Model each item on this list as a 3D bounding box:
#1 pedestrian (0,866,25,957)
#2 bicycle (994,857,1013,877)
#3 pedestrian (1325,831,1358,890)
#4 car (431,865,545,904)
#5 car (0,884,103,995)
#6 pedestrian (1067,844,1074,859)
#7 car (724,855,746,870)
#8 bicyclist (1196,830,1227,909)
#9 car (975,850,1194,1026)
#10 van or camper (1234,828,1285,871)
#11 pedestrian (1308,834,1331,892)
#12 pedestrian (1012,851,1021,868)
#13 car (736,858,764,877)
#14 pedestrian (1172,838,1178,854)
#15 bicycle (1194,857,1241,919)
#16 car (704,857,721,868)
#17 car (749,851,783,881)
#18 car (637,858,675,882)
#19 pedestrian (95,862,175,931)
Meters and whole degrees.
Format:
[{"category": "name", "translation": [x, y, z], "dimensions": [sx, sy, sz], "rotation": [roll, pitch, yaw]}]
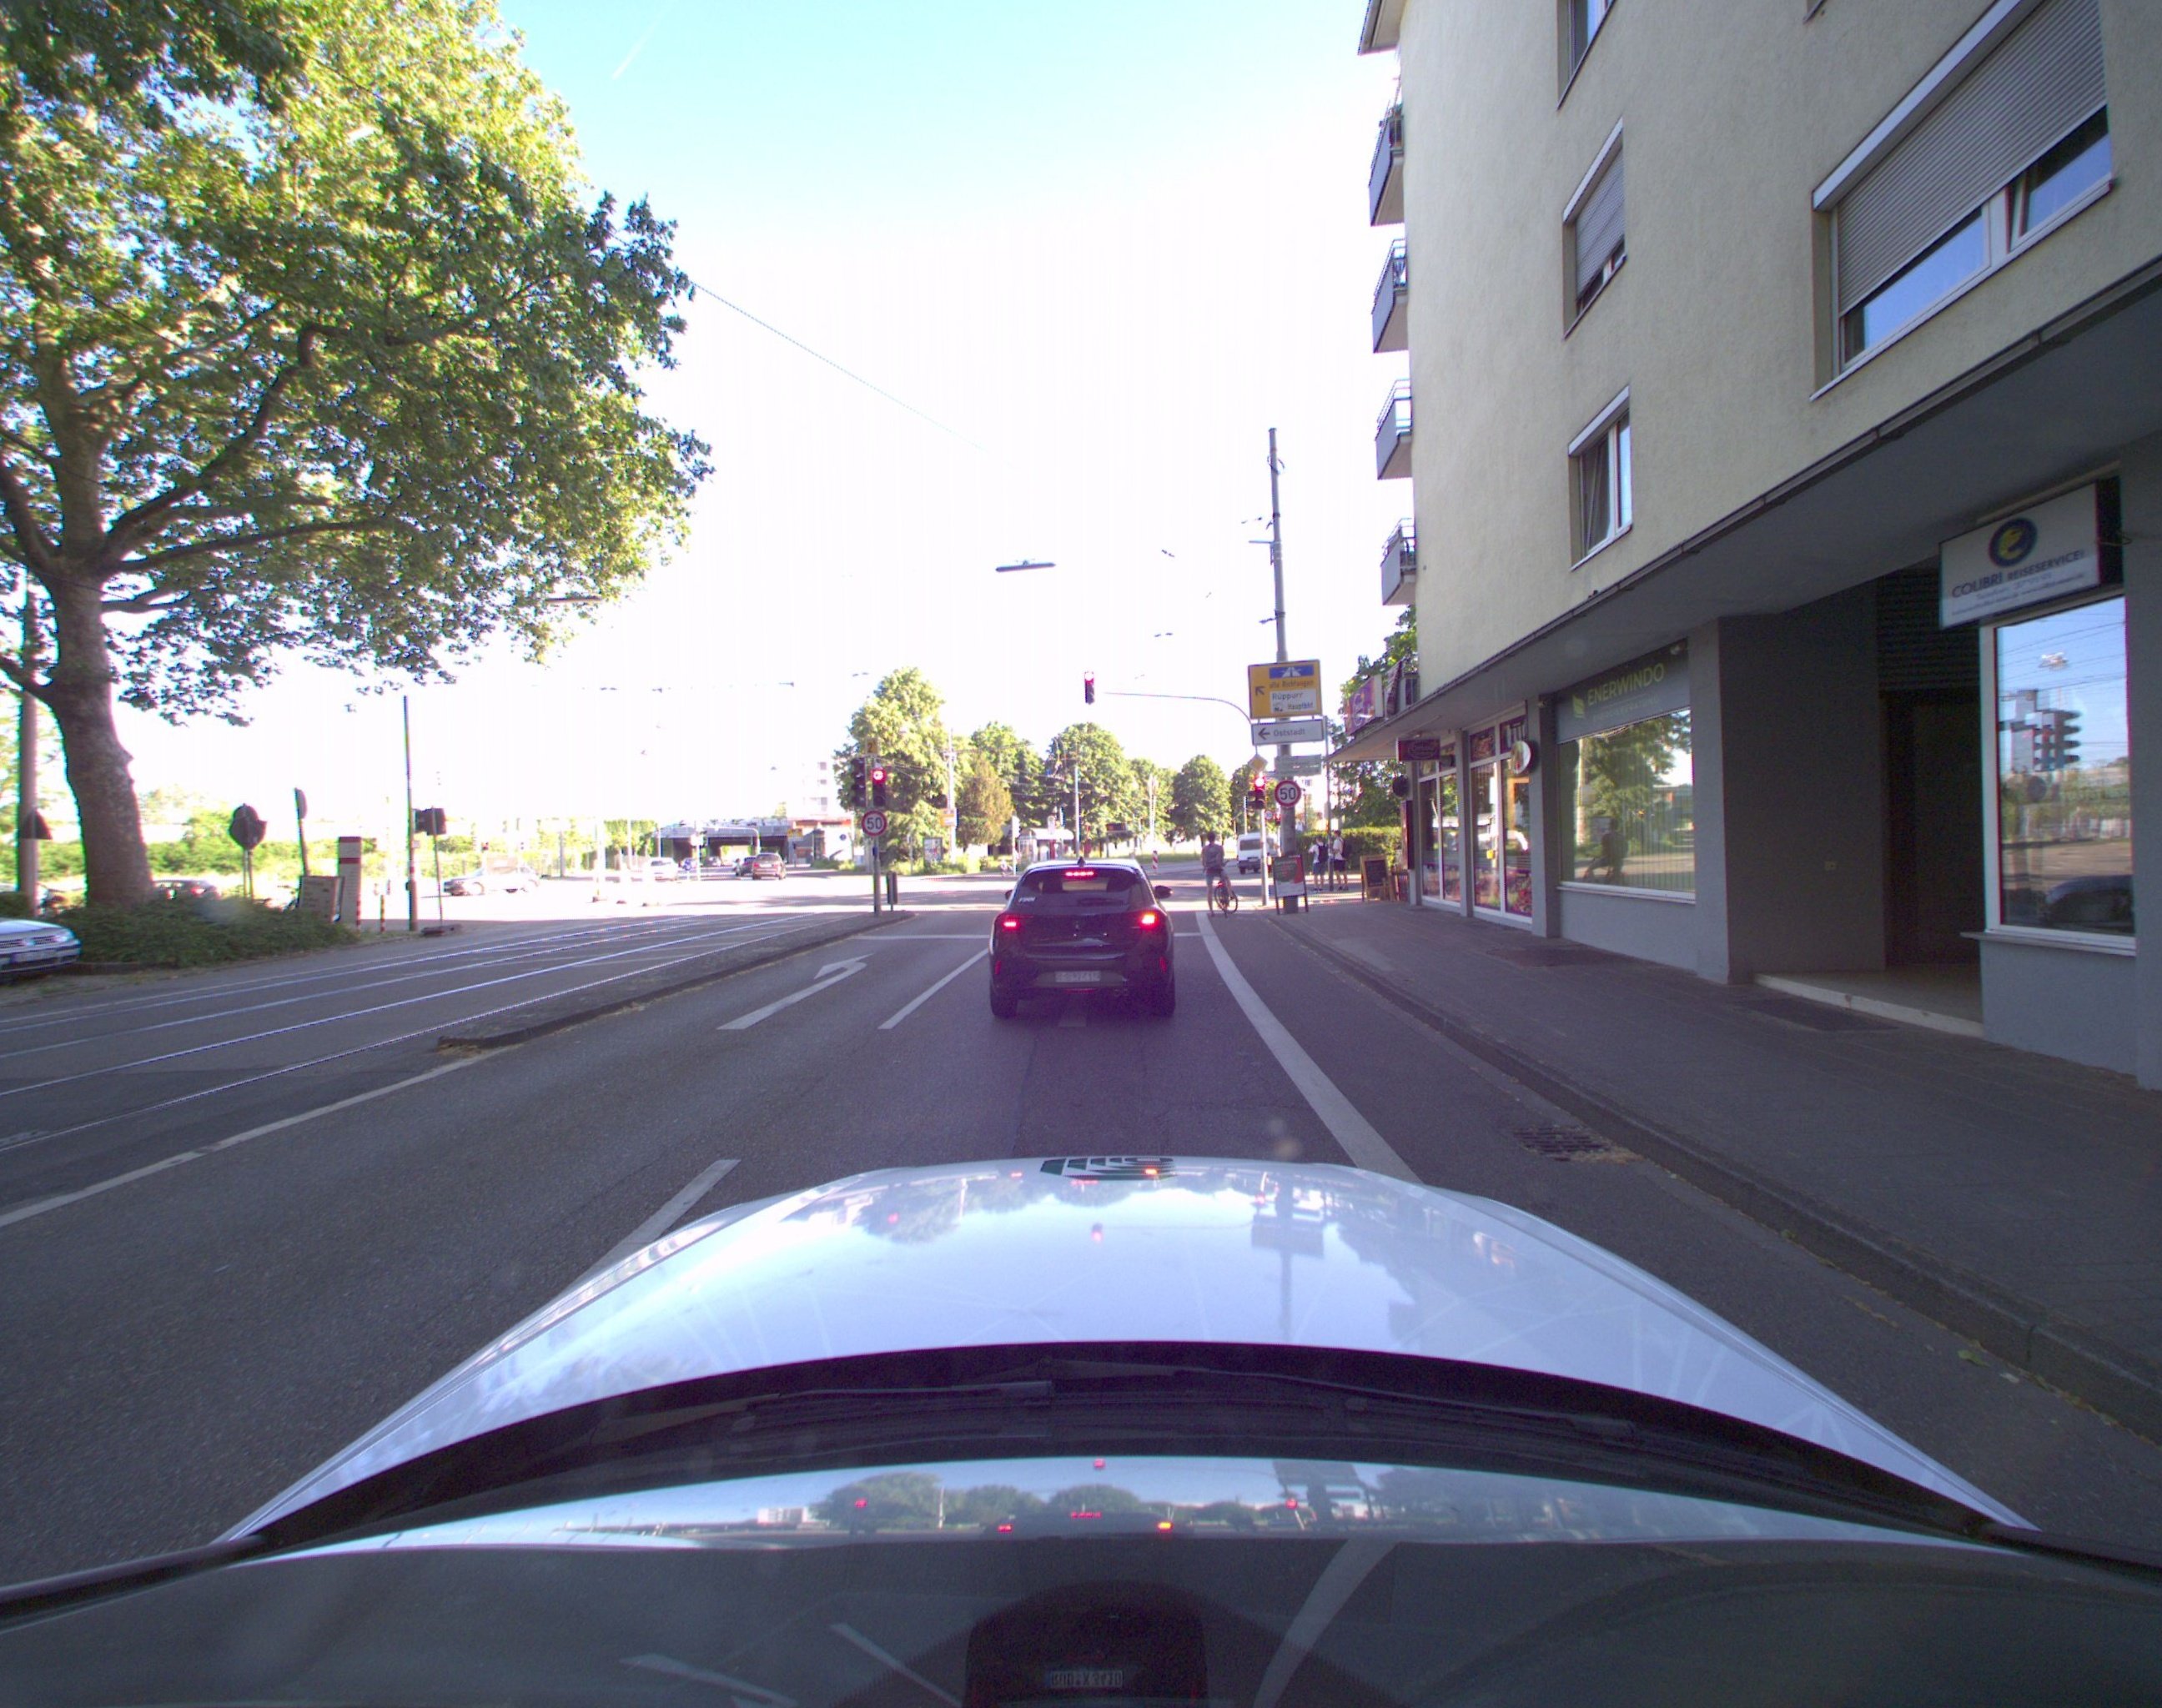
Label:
[{"category": "pedestrian", "translation": [-20.262, 1.060, 14.838], "dimensions": [0.770, 1.661, 0.954], "rotation": [0, -1, -2]}, {"category": "bicycle", "translation": [-4.402, 0.750, 46.579], "dimensions": [0.793, 1.064, 2.186], "rotation": [-2, 0, 2]}, {"category": "pedestrian", "translation": [8.146, 0.200, 25.492], "dimensions": [0.636, 1.820, 0.739], "rotation": [0, -1, -27]}, {"category": "car", "translation": [-30.849, 1.545, 42.533], "dimensions": [1.965, 1.764, 4.383], "rotation": [-2, 0, 21]}, {"category": "car", "translation": [-16.630, 1.196, 11.334], "dimensions": [3.957, 1.453, 1.670], "rotation": [-1, 0, -1]}, {"category": "pedestrian", "translation": [-1.285, -0.266, 99.698], "dimensions": [0.736, 1.872, 0.661], "rotation": [0, -1, -4]}, {"category": "car", "translation": [-36.975, 0.941, 86.979], "dimensions": [2.000, 1.552, 4.162], "rotation": [0, -1, -25]}, {"category": "bicyclist", "translation": [2.849, 0.334, 17.799], "dimensions": [0.529, 1.692, 0.571], "rotation": [-2, 0, 19]}, {"category": "car", "translation": [0.092, 0.705, 8.922], "dimensions": [1.833, 1.462, 3.985], "rotation": [-1, 0, 2]}, {"category": "van or camper", "translation": [10.177, -0.217, 46.167], "dimensions": [2.011, 2.310, 4.565], "rotation": [-1, -1, 23]}, {"category": "pedestrian", "translation": [7.435, 0.276, 25.408], "dimensions": [0.627, 1.763, 0.585], "rotation": [-1, -1, 22]}, {"category": "pedestrian", "translation": [-5.622, 0.505, 71.358], "dimensions": [0.566, 1.472, 0.667], "rotation": [-2, 0, 10]}, {"category": "car", "translation": [-26.766, 1.071, 65.808], "dimensions": [1.807, 1.519, 4.170], "rotation": [0, -1, -26]}, {"category": "pedestrian", "translation": [11.013, -0.909, 95.309], "dimensions": [0.513, 1.872, 0.609], "rotation": [-1, -1, 43]}, {"category": "bicycle", "translation": [3.029, 0.718, 17.964], "dimensions": [0.747, 1.235, 2.024], "rotation": [-2, 0, 16]}, {"category": "car", "translation": [-51.764, 1.221, 114.412], "dimensions": [1.892, 1.585, 3.809], "rotation": [0, -1, -21]}, {"category": "car", "translation": [-21.476, 0.771, 55.377], "dimensions": [1.917, 1.881, 4.808], "rotation": [-2, 0, -24]}, {"category": "car", "translation": [-29.263, 1.068, 56.150], "dimensions": [1.892, 1.585, 3.809], "rotation": [0, -1, -21]}, {"category": "pedestrian", "translation": [-23.220, 1.013, 20.012], "dimensions": [0.842, 1.647, 0.931], "rotation": [0, -1, 1]}]
